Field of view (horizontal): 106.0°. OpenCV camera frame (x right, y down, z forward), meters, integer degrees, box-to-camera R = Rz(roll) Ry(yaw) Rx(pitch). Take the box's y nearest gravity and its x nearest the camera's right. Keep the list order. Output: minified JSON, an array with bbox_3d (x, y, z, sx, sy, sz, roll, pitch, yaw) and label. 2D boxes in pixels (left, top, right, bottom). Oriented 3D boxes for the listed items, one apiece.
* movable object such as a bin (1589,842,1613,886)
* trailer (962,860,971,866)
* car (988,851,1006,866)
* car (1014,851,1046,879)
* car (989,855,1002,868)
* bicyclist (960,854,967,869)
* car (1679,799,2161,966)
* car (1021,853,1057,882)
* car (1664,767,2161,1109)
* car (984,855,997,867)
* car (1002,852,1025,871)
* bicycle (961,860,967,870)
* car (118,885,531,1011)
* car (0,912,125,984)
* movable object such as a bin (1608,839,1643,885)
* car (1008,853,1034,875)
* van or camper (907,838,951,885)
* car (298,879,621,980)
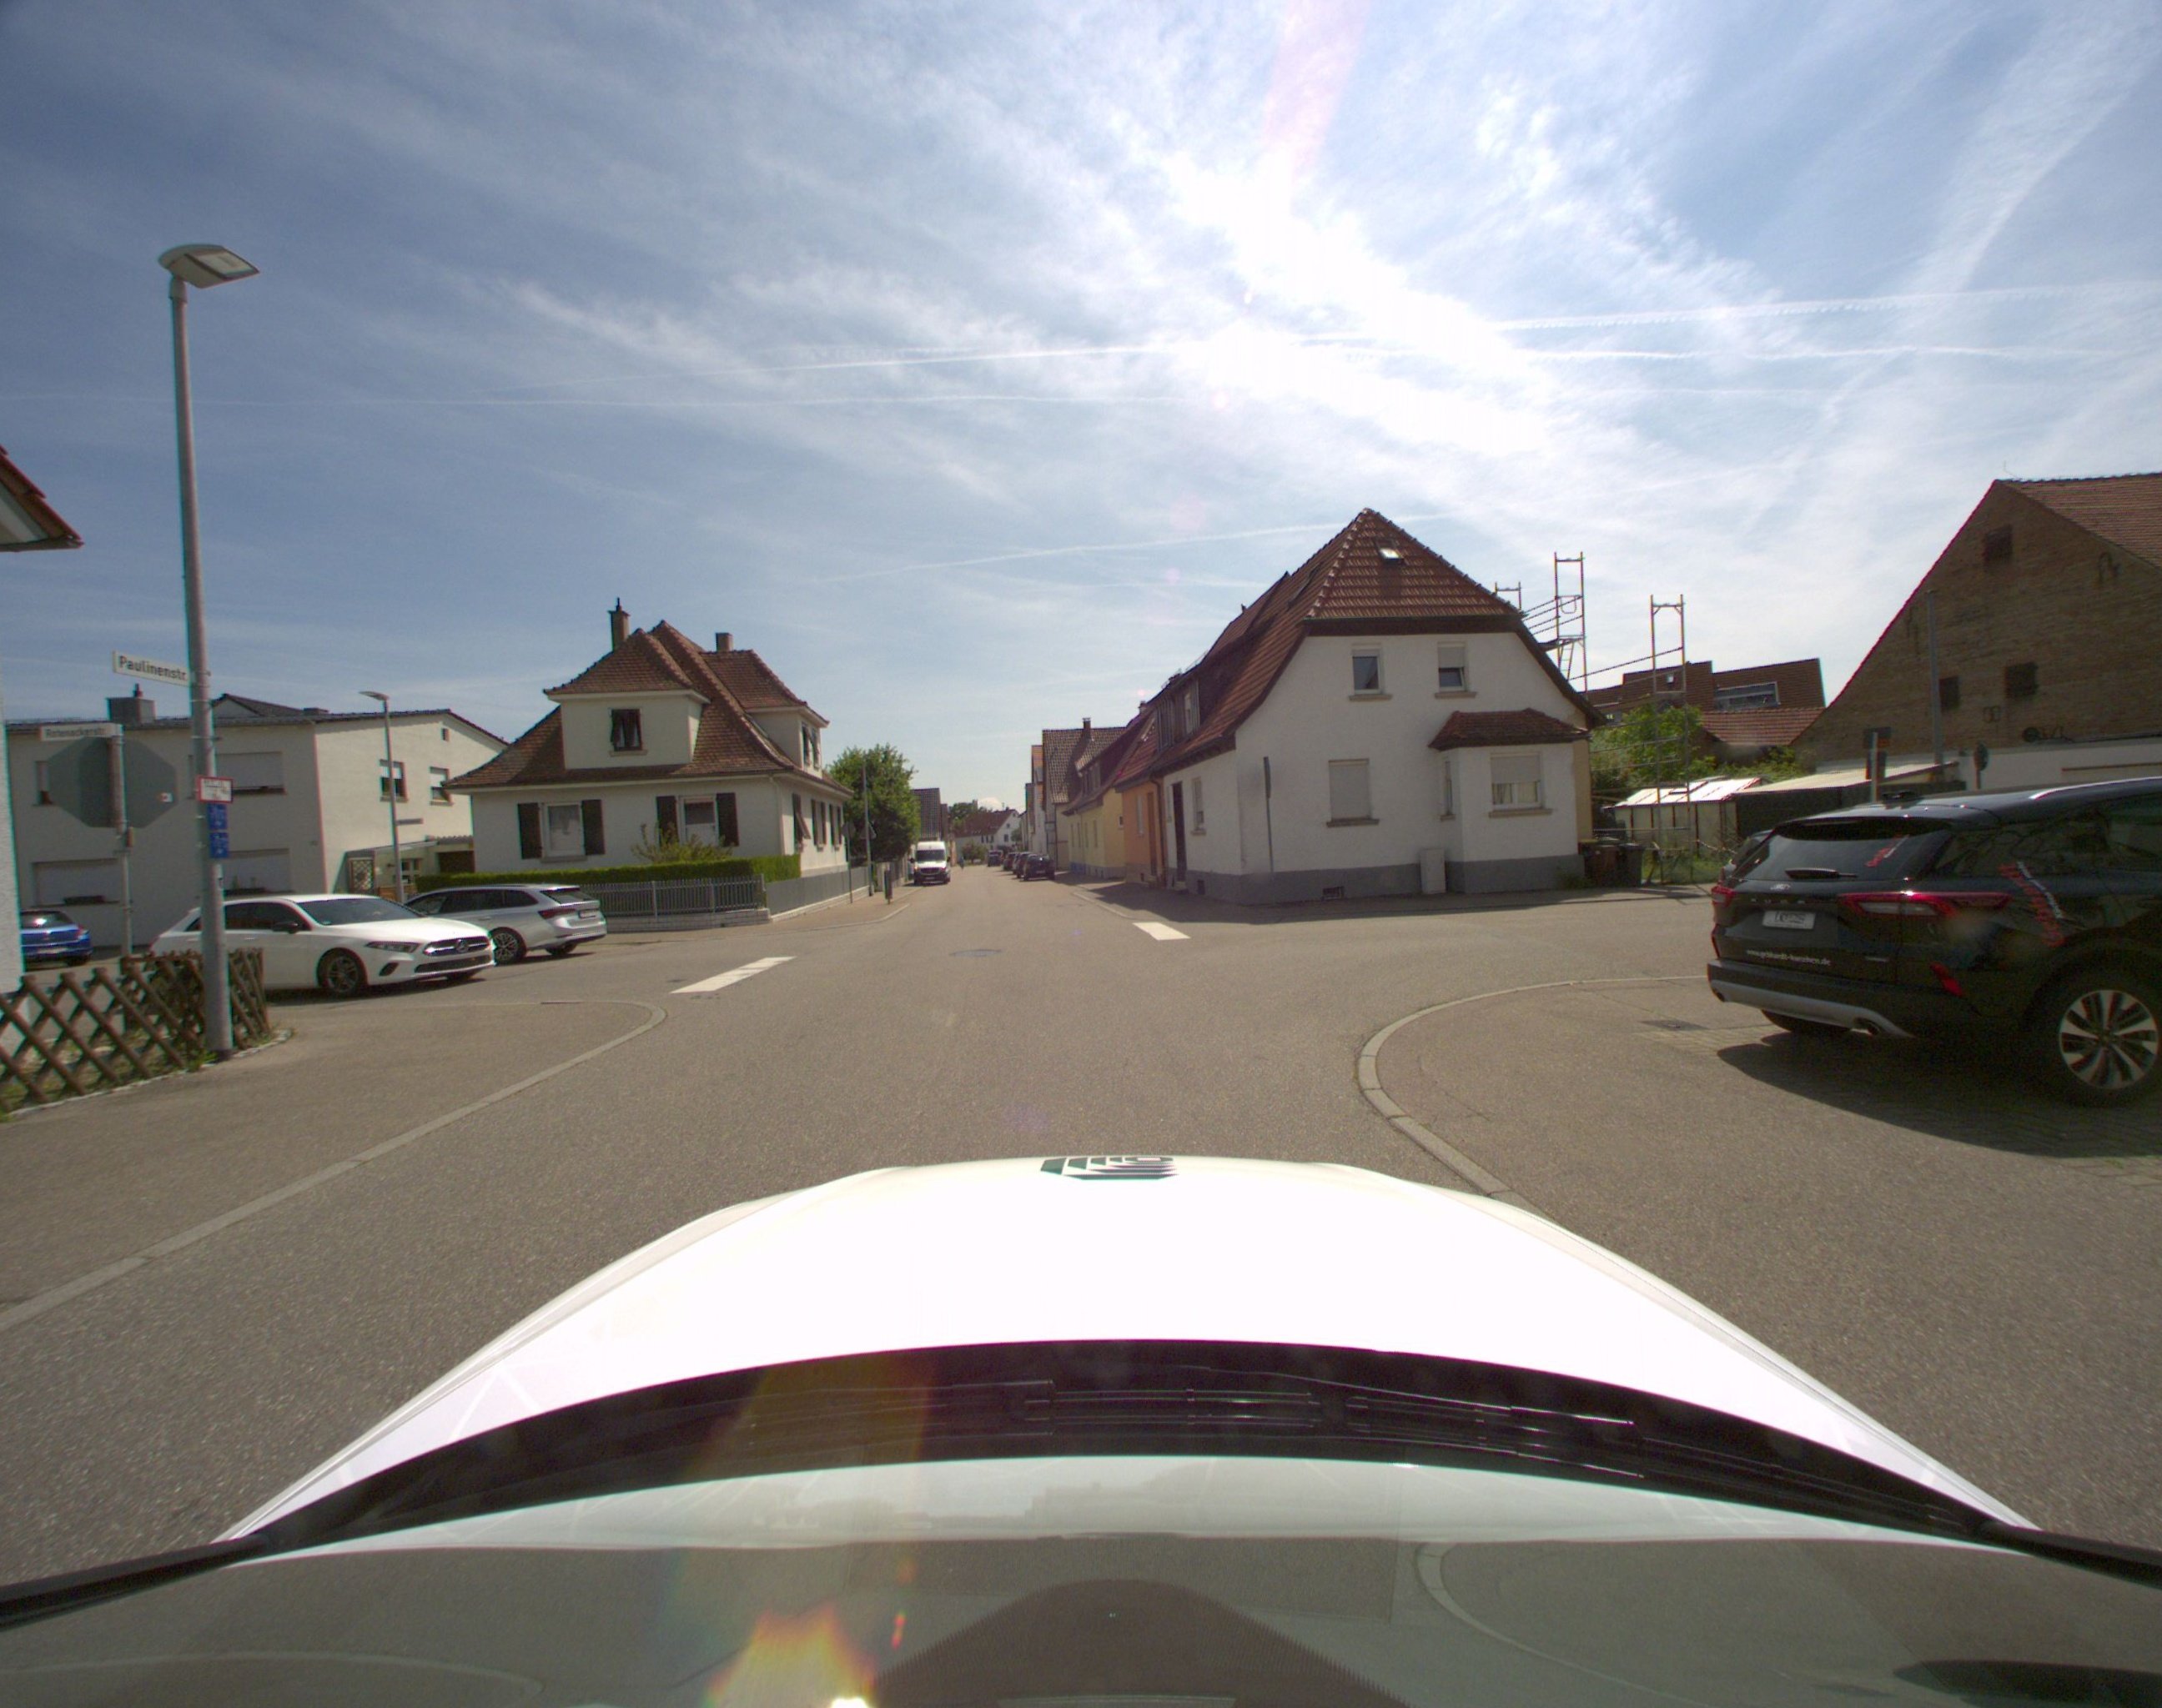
[{"bbox_3d":[11.619,0.224,18.191,0.227,0.946,0.359,-2,-1,-10],"label":"movable object such as a bin"},{"bbox_3d":[-19.345,1.575,137.432,1.500,0.927,1.010,-2,0,-6],"label":"trailer"},{"bbox_3d":[-12.639,0.626,122.584,2.123,2.158,4.734,-4,0,-1],"label":"car"},{"bbox_3d":[-3.220,0.638,51.116,1.727,1.599,4.243,-3,0,-6],"label":"car"},{"bbox_3d":[-11.403,0.962,108.476,1.513,1.567,3.180,-3,0,-4],"label":"car"},{"bbox_3d":[-14.240,0.879,98.628,0.713,1.798,0.939,-3,0,-9],"label":"bicyclist"},{"bbox_3d":[9.307,0.281,9.083,3.973,1.504,1.695,-3,0,1],"label":"car"},{"bbox_3d":[-2.383,0.720,45.411,1.610,1.431,3.742,-3,0,-9],"label":"car"},{"bbox_3d":[6.401,0.335,4.990,4.278,1.653,1.848,-3,0,1],"label":"car"},{"bbox_3d":[-12.534,0.952,112.907,1.513,1.624,3.180,-4,0,-4],"label":"car"},{"bbox_3d":[-6.471,0.727,77.838,1.875,1.700,4.170,-3,0,-9],"label":"car"},{"bbox_3d":[-14.200,1.277,98.636,0.670,1.132,2.183,-3,0,-8],"label":"bicycle"},{"bbox_3d":[-10.752,1.303,11.746,4.453,1.398,1.934,-3,0,9],"label":"car"},{"bbox_3d":[-25.897,2.302,19.702,3.742,1.491,1.780,-3,0,8],"label":"car"},{"bbox_3d":[12.081,0.179,18.072,0.584,0.992,0.288,-3,-1,-9],"label":"movable object such as a bin"},{"bbox_3d":[-4.640,0.756,62.941,1.673,1.559,3.031,-3,0,-9],"label":"car"},{"bbox_3d":[-9.251,0.436,50.055,2.183,2.571,6.790,-3,0,-7],"label":"van or camper"},{"bbox_3d":[-11.416,1.351,15.199,4.559,1.438,1.758,-3,0,-1],"label":"car"}]
